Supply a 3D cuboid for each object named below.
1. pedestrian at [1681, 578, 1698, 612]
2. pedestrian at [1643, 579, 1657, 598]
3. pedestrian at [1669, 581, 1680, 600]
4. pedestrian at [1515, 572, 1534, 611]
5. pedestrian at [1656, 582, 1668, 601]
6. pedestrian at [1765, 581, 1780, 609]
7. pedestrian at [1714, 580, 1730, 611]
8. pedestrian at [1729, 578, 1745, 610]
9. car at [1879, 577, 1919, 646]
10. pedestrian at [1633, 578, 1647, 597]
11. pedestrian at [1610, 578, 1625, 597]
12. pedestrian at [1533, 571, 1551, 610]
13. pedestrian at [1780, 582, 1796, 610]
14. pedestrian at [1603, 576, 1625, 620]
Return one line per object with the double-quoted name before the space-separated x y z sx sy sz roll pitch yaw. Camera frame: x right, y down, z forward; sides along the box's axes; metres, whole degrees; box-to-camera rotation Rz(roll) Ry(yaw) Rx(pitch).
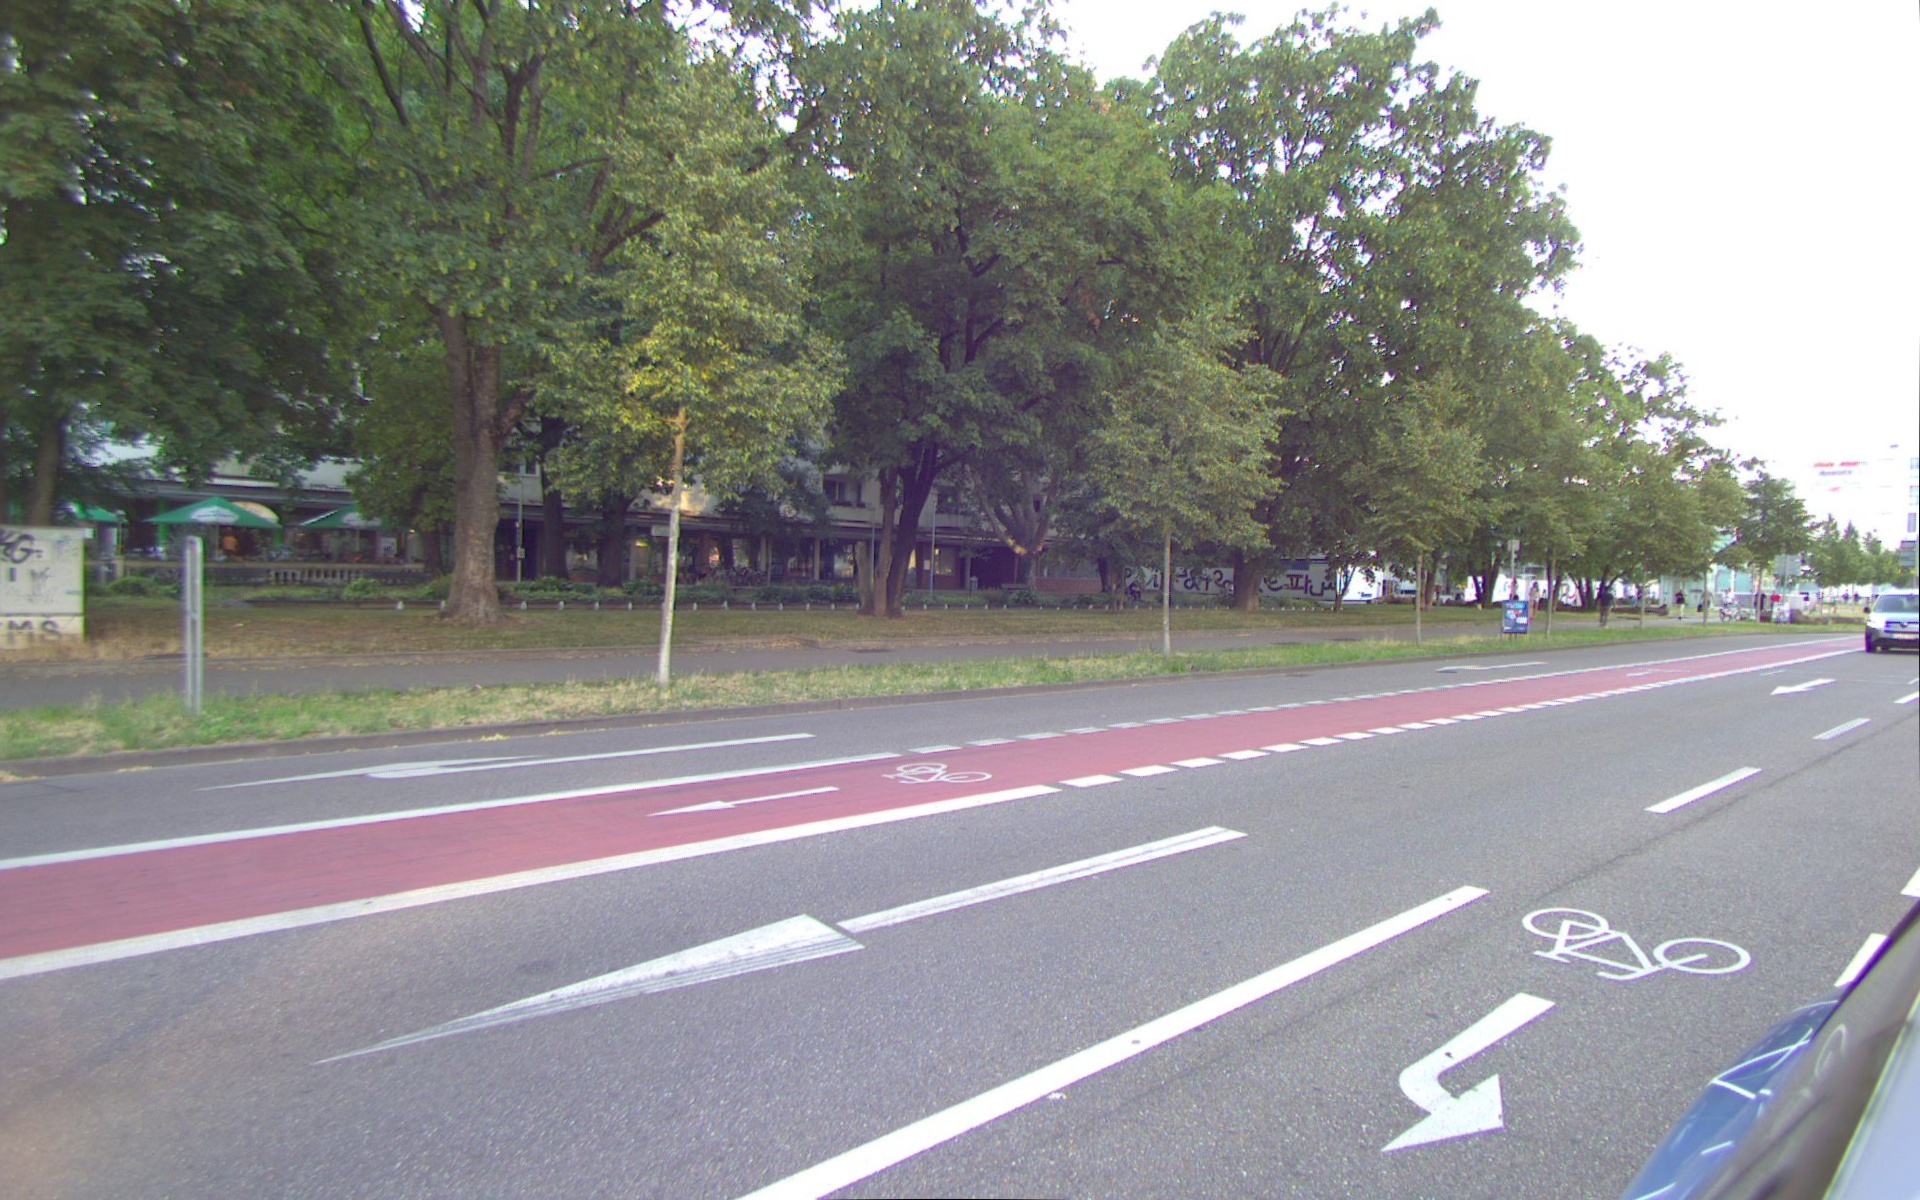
"pedestrian" 39.013 -0.265 54.106 0.707 1.751 0.508 0 2 -41
"pedestrian" 49.529 -0.839 72.633 0.496 1.371 0.654 0 2 -40
"pedestrian" 50.056 -0.666 70.905 0.427 1.371 0.508 0 2 -40
"pedestrian" 23.878 -0.359 42.801 0.513 1.621 0.500 0 2 -41
"pedestrian" 49.568 -0.608 71.473 0.759 1.371 0.519 0 2 -41
"pedestrian" 52.483 -0.343 65.371 0.497 1.779 0.638 0 2 -40
"pedestrian" 43.292 -0.253 57.481 0.707 1.751 0.519 0 2 -40
"pedestrian" 43.668 -0.328 56.864 0.707 1.751 0.508 0 2 -41
"car" 28.070 0.309 29.254 4.421 1.912 1.766 0 1 -41
"pedestrian" 48.307 -0.886 71.911 0.550 1.371 0.662 0 2 -40
"pedestrian" 47.302 -0.882 72.778 0.604 1.371 0.728 0 2 -40
"pedestrian" 24.834 -0.397 43.170 0.359 1.621 0.500 1 2 -40
"pedestrian" 52.917 -0.270 64.691 0.497 1.779 0.638 0 2 -40
"pedestrian" 26.683 -0.090 41.312 0.546 1.760 0.558 0 2 -41
